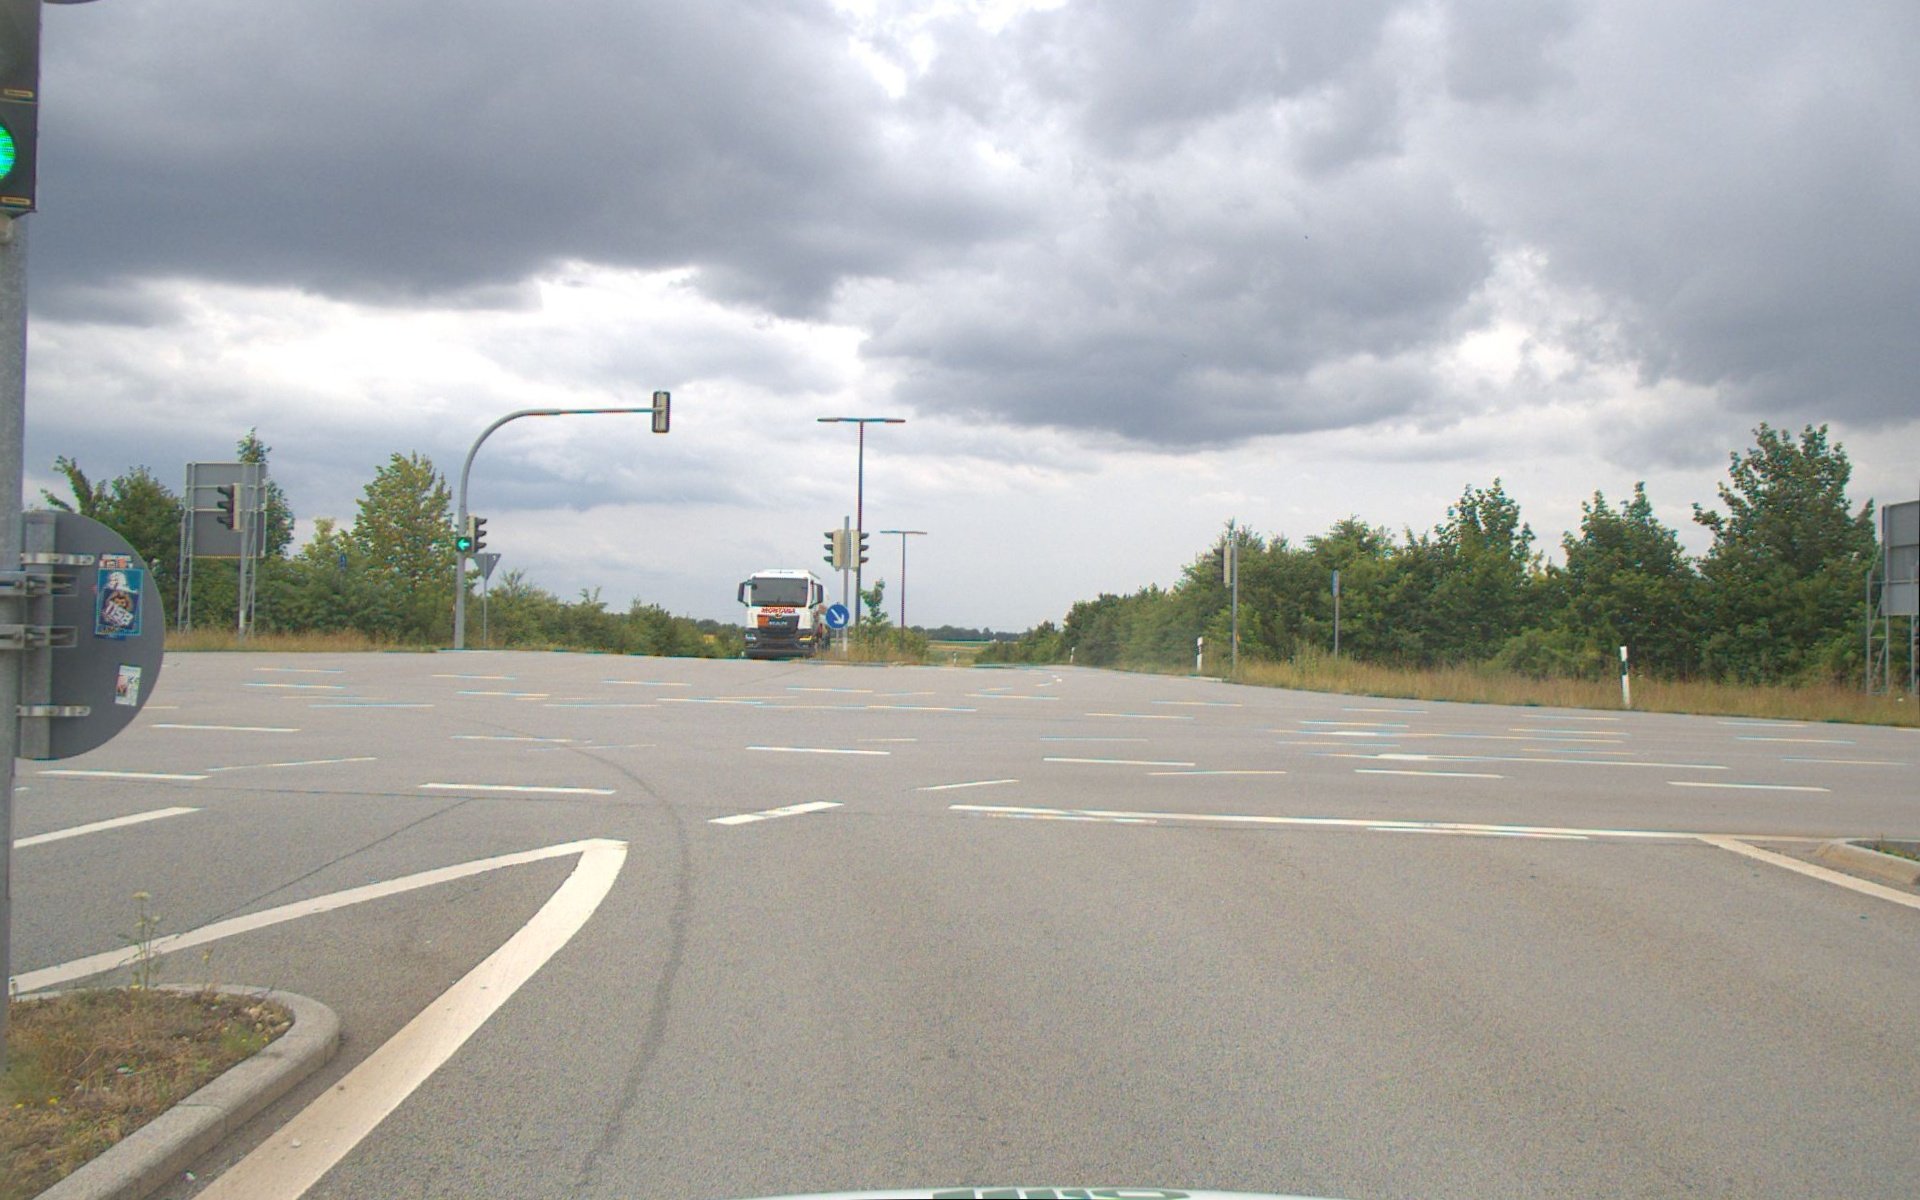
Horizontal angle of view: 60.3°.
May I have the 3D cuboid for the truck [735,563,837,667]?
[{"bbox_3d":[-6.181,0.658,59.988,2.811,3.468,8.647,1,-2,-1],"label":"truck"}]
